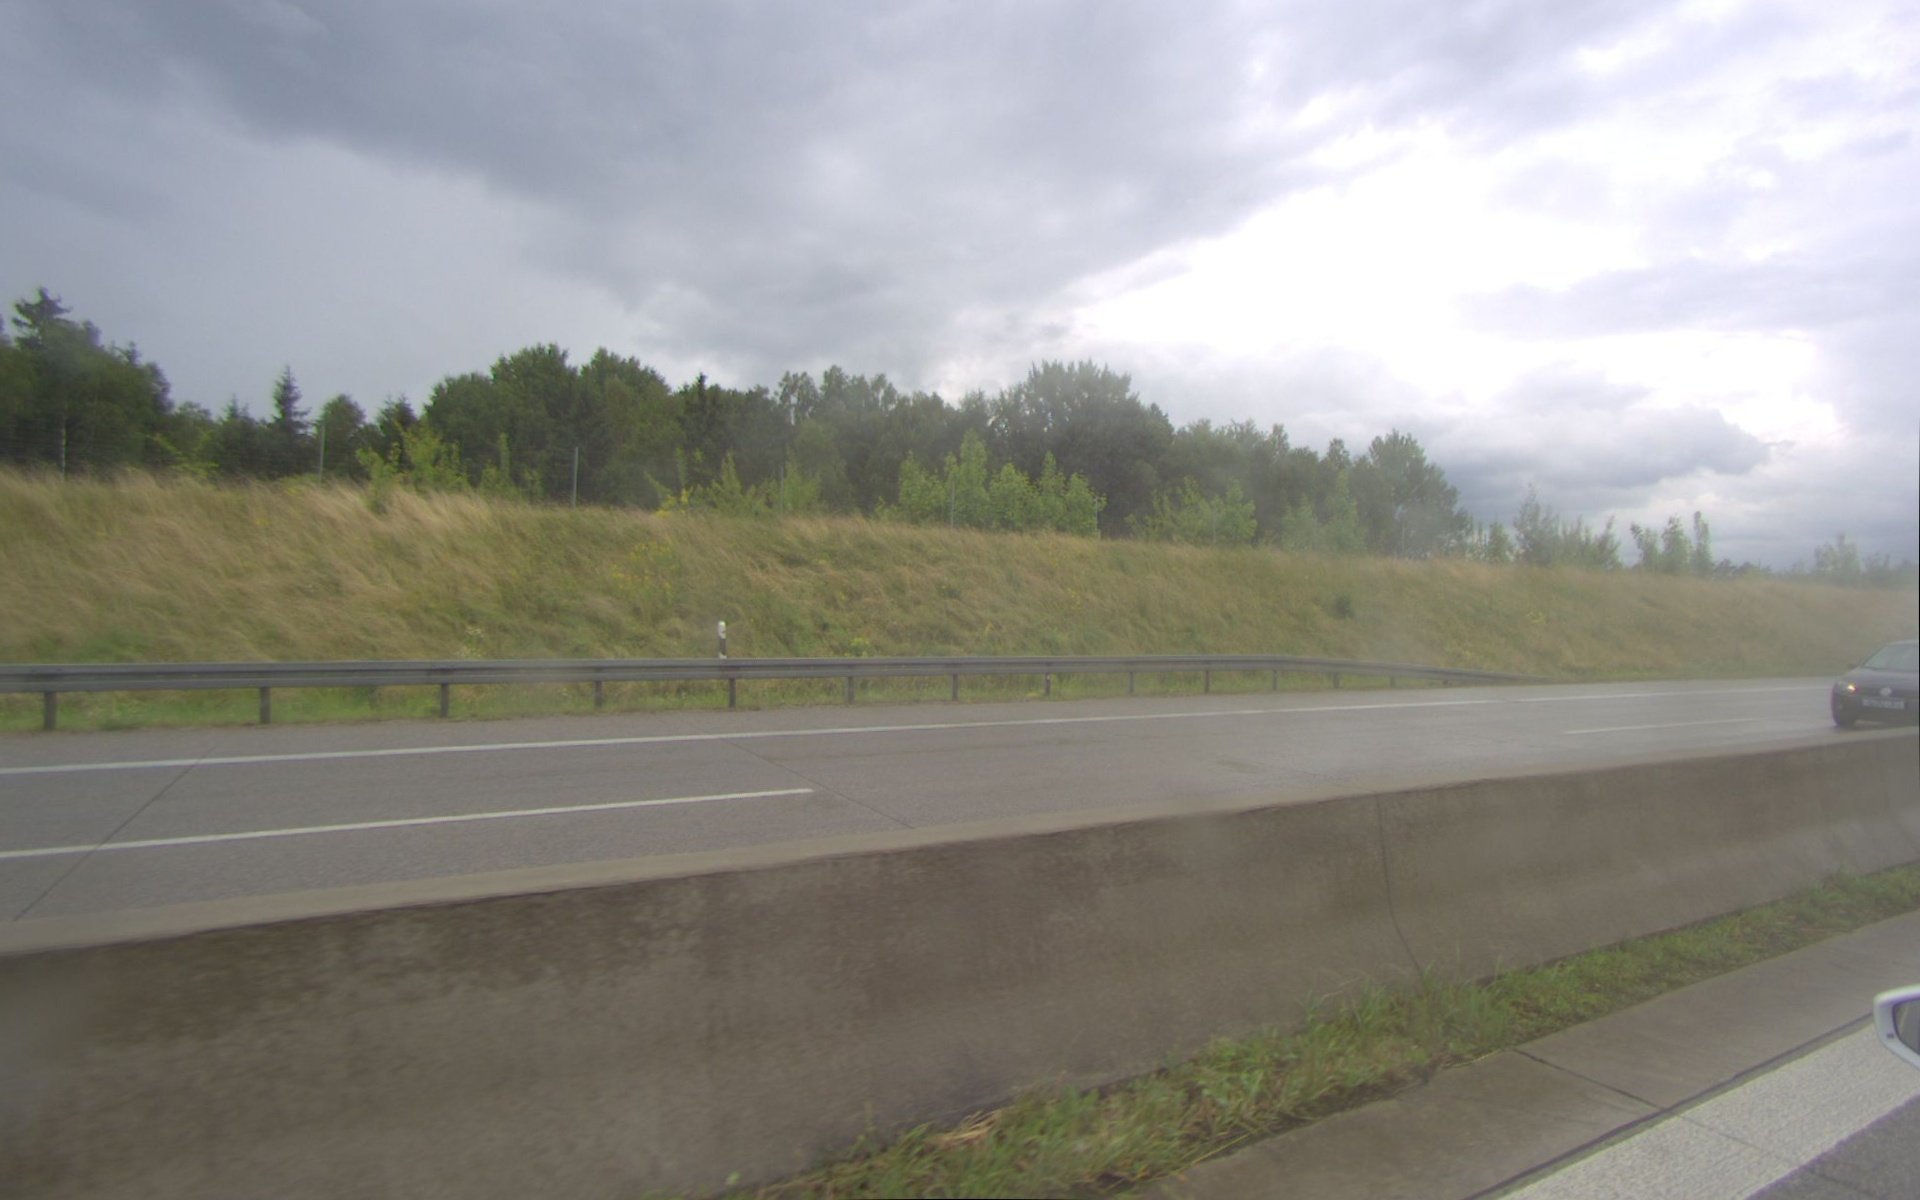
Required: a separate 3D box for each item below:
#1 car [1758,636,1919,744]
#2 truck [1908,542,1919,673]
[{"bbox_3d":[14.464,1.322,15.796,3.953,1.505,1.653,1,-2,-30],"label":"car"},{"bbox_3d":[31.473,0.275,30.300,5.133,3.921,2.872,1,0,-30],"label":"truck"}]
